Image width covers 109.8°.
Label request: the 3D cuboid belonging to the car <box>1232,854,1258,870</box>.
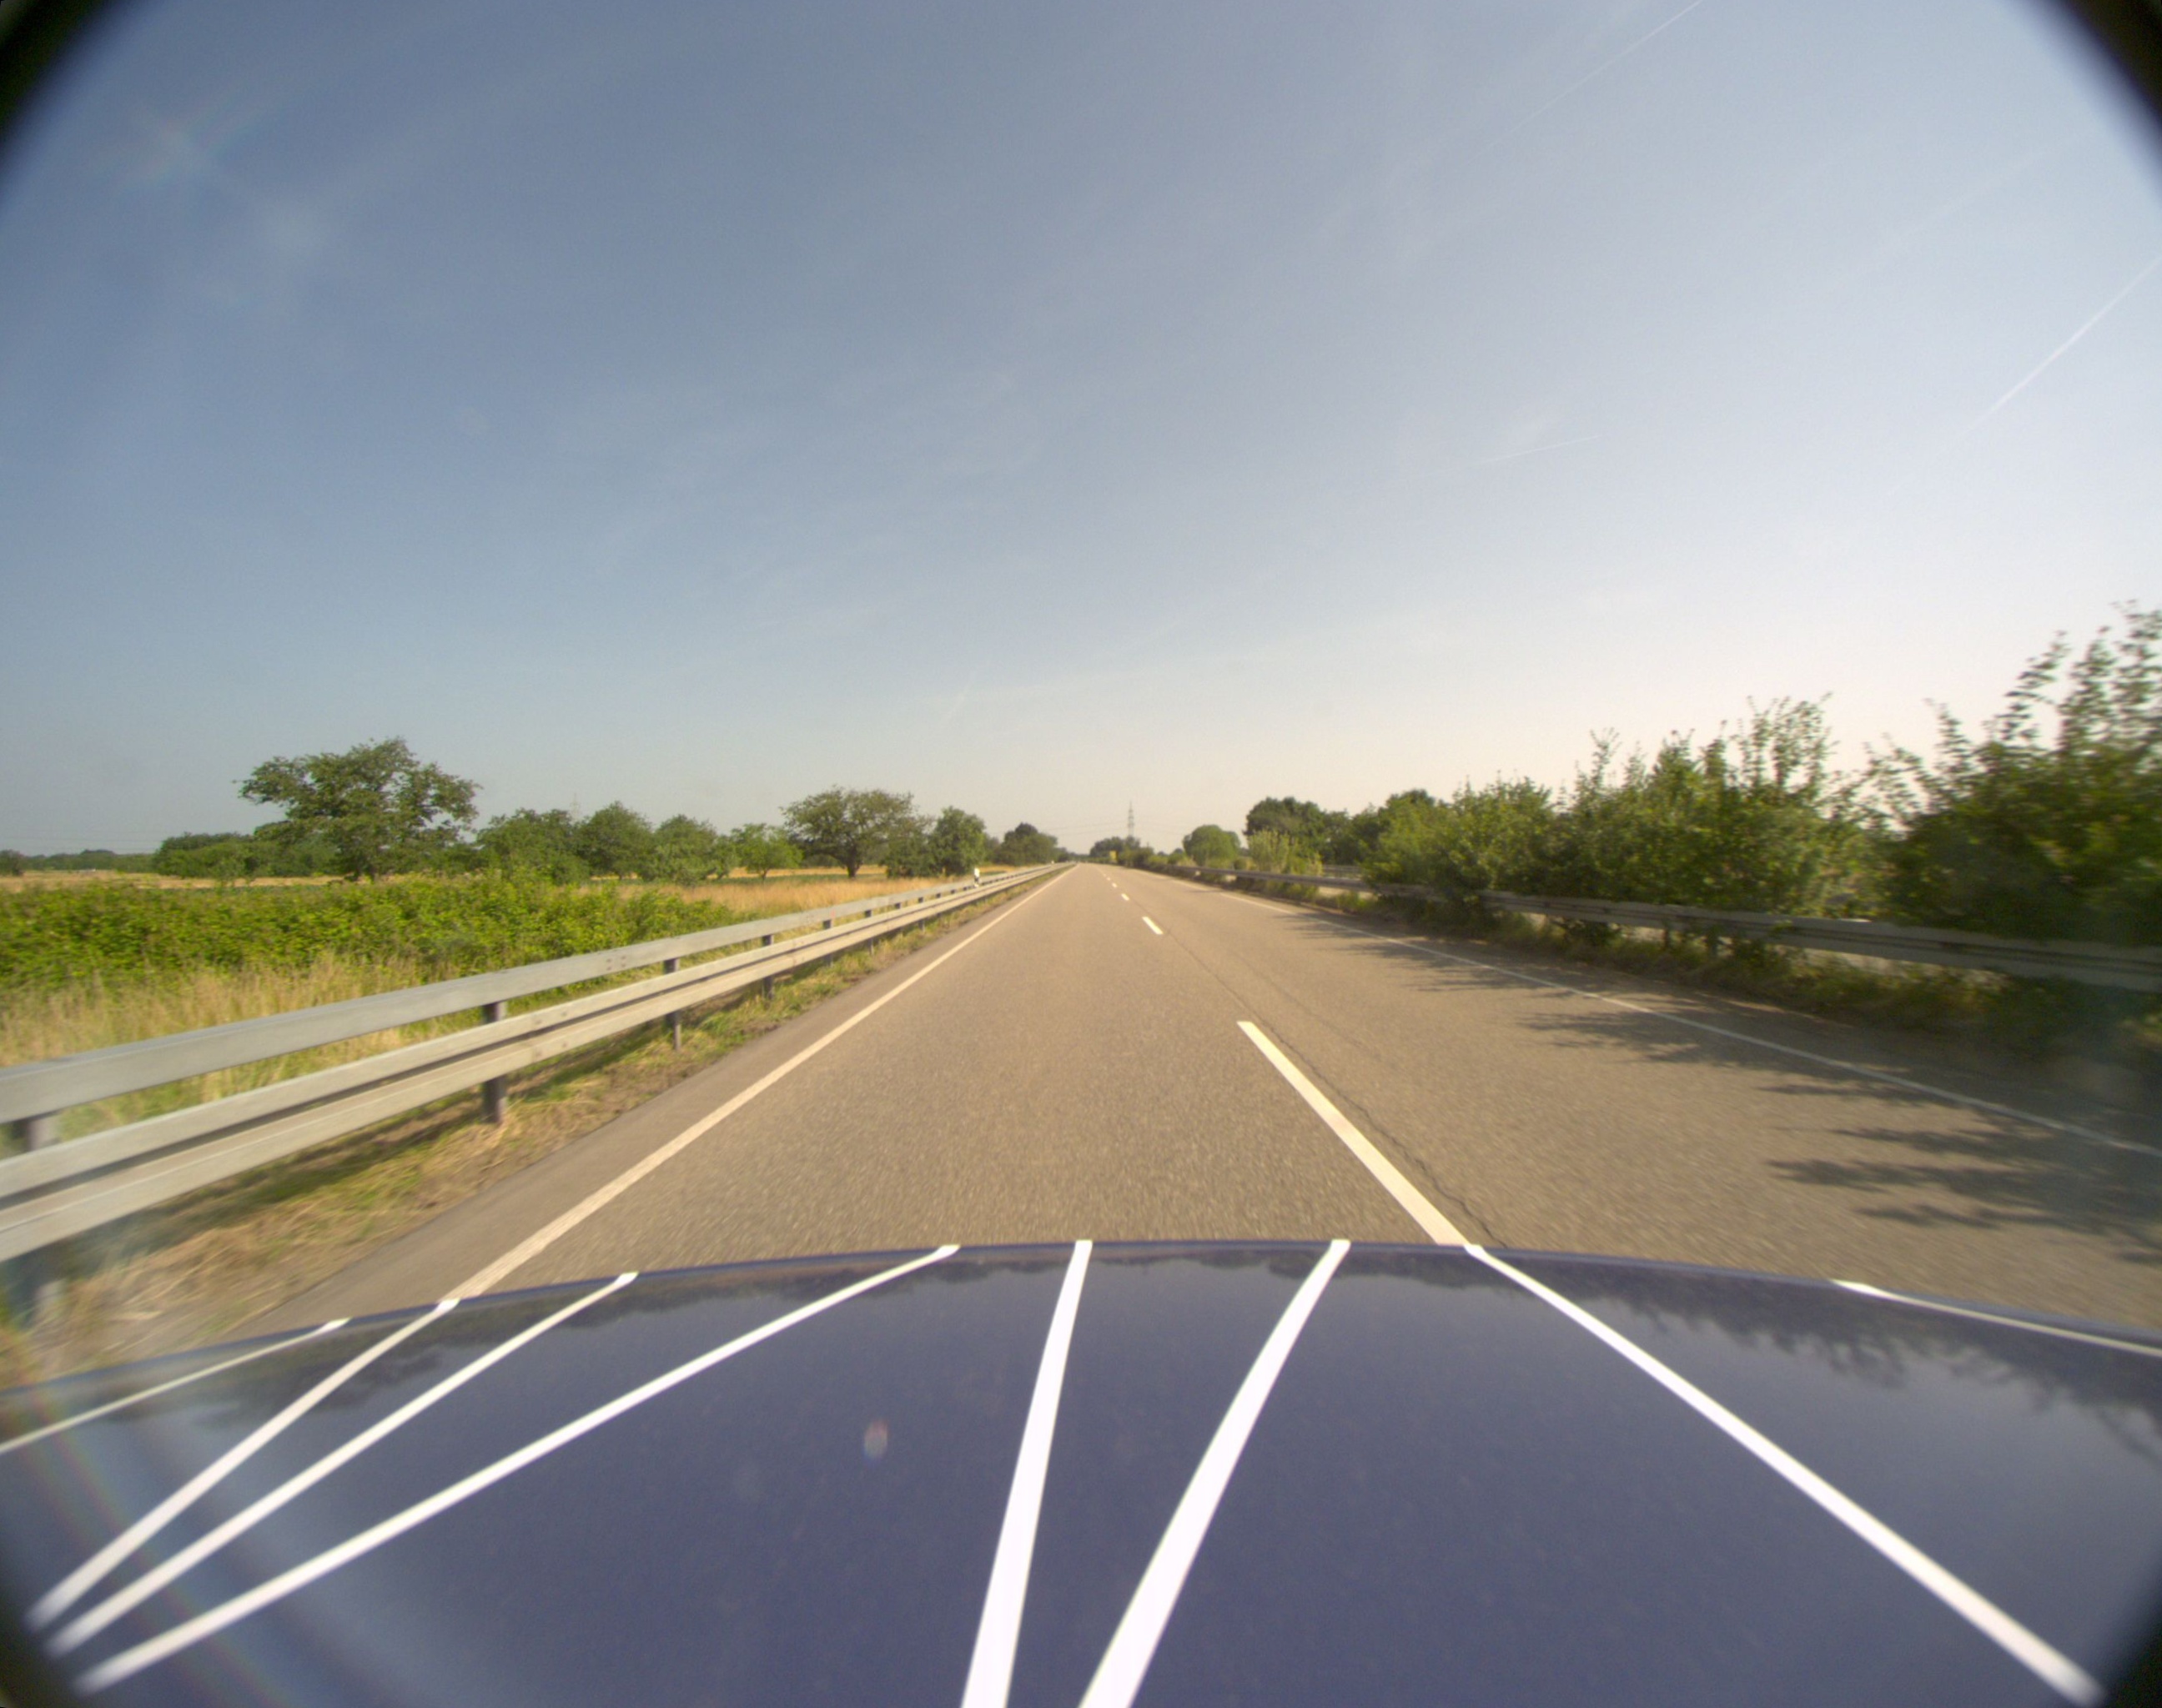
[{"bbox_3d":[15.917,0.741,73.833,1.697,1.518,4.188,-1,0,1],"label":"car"}]
